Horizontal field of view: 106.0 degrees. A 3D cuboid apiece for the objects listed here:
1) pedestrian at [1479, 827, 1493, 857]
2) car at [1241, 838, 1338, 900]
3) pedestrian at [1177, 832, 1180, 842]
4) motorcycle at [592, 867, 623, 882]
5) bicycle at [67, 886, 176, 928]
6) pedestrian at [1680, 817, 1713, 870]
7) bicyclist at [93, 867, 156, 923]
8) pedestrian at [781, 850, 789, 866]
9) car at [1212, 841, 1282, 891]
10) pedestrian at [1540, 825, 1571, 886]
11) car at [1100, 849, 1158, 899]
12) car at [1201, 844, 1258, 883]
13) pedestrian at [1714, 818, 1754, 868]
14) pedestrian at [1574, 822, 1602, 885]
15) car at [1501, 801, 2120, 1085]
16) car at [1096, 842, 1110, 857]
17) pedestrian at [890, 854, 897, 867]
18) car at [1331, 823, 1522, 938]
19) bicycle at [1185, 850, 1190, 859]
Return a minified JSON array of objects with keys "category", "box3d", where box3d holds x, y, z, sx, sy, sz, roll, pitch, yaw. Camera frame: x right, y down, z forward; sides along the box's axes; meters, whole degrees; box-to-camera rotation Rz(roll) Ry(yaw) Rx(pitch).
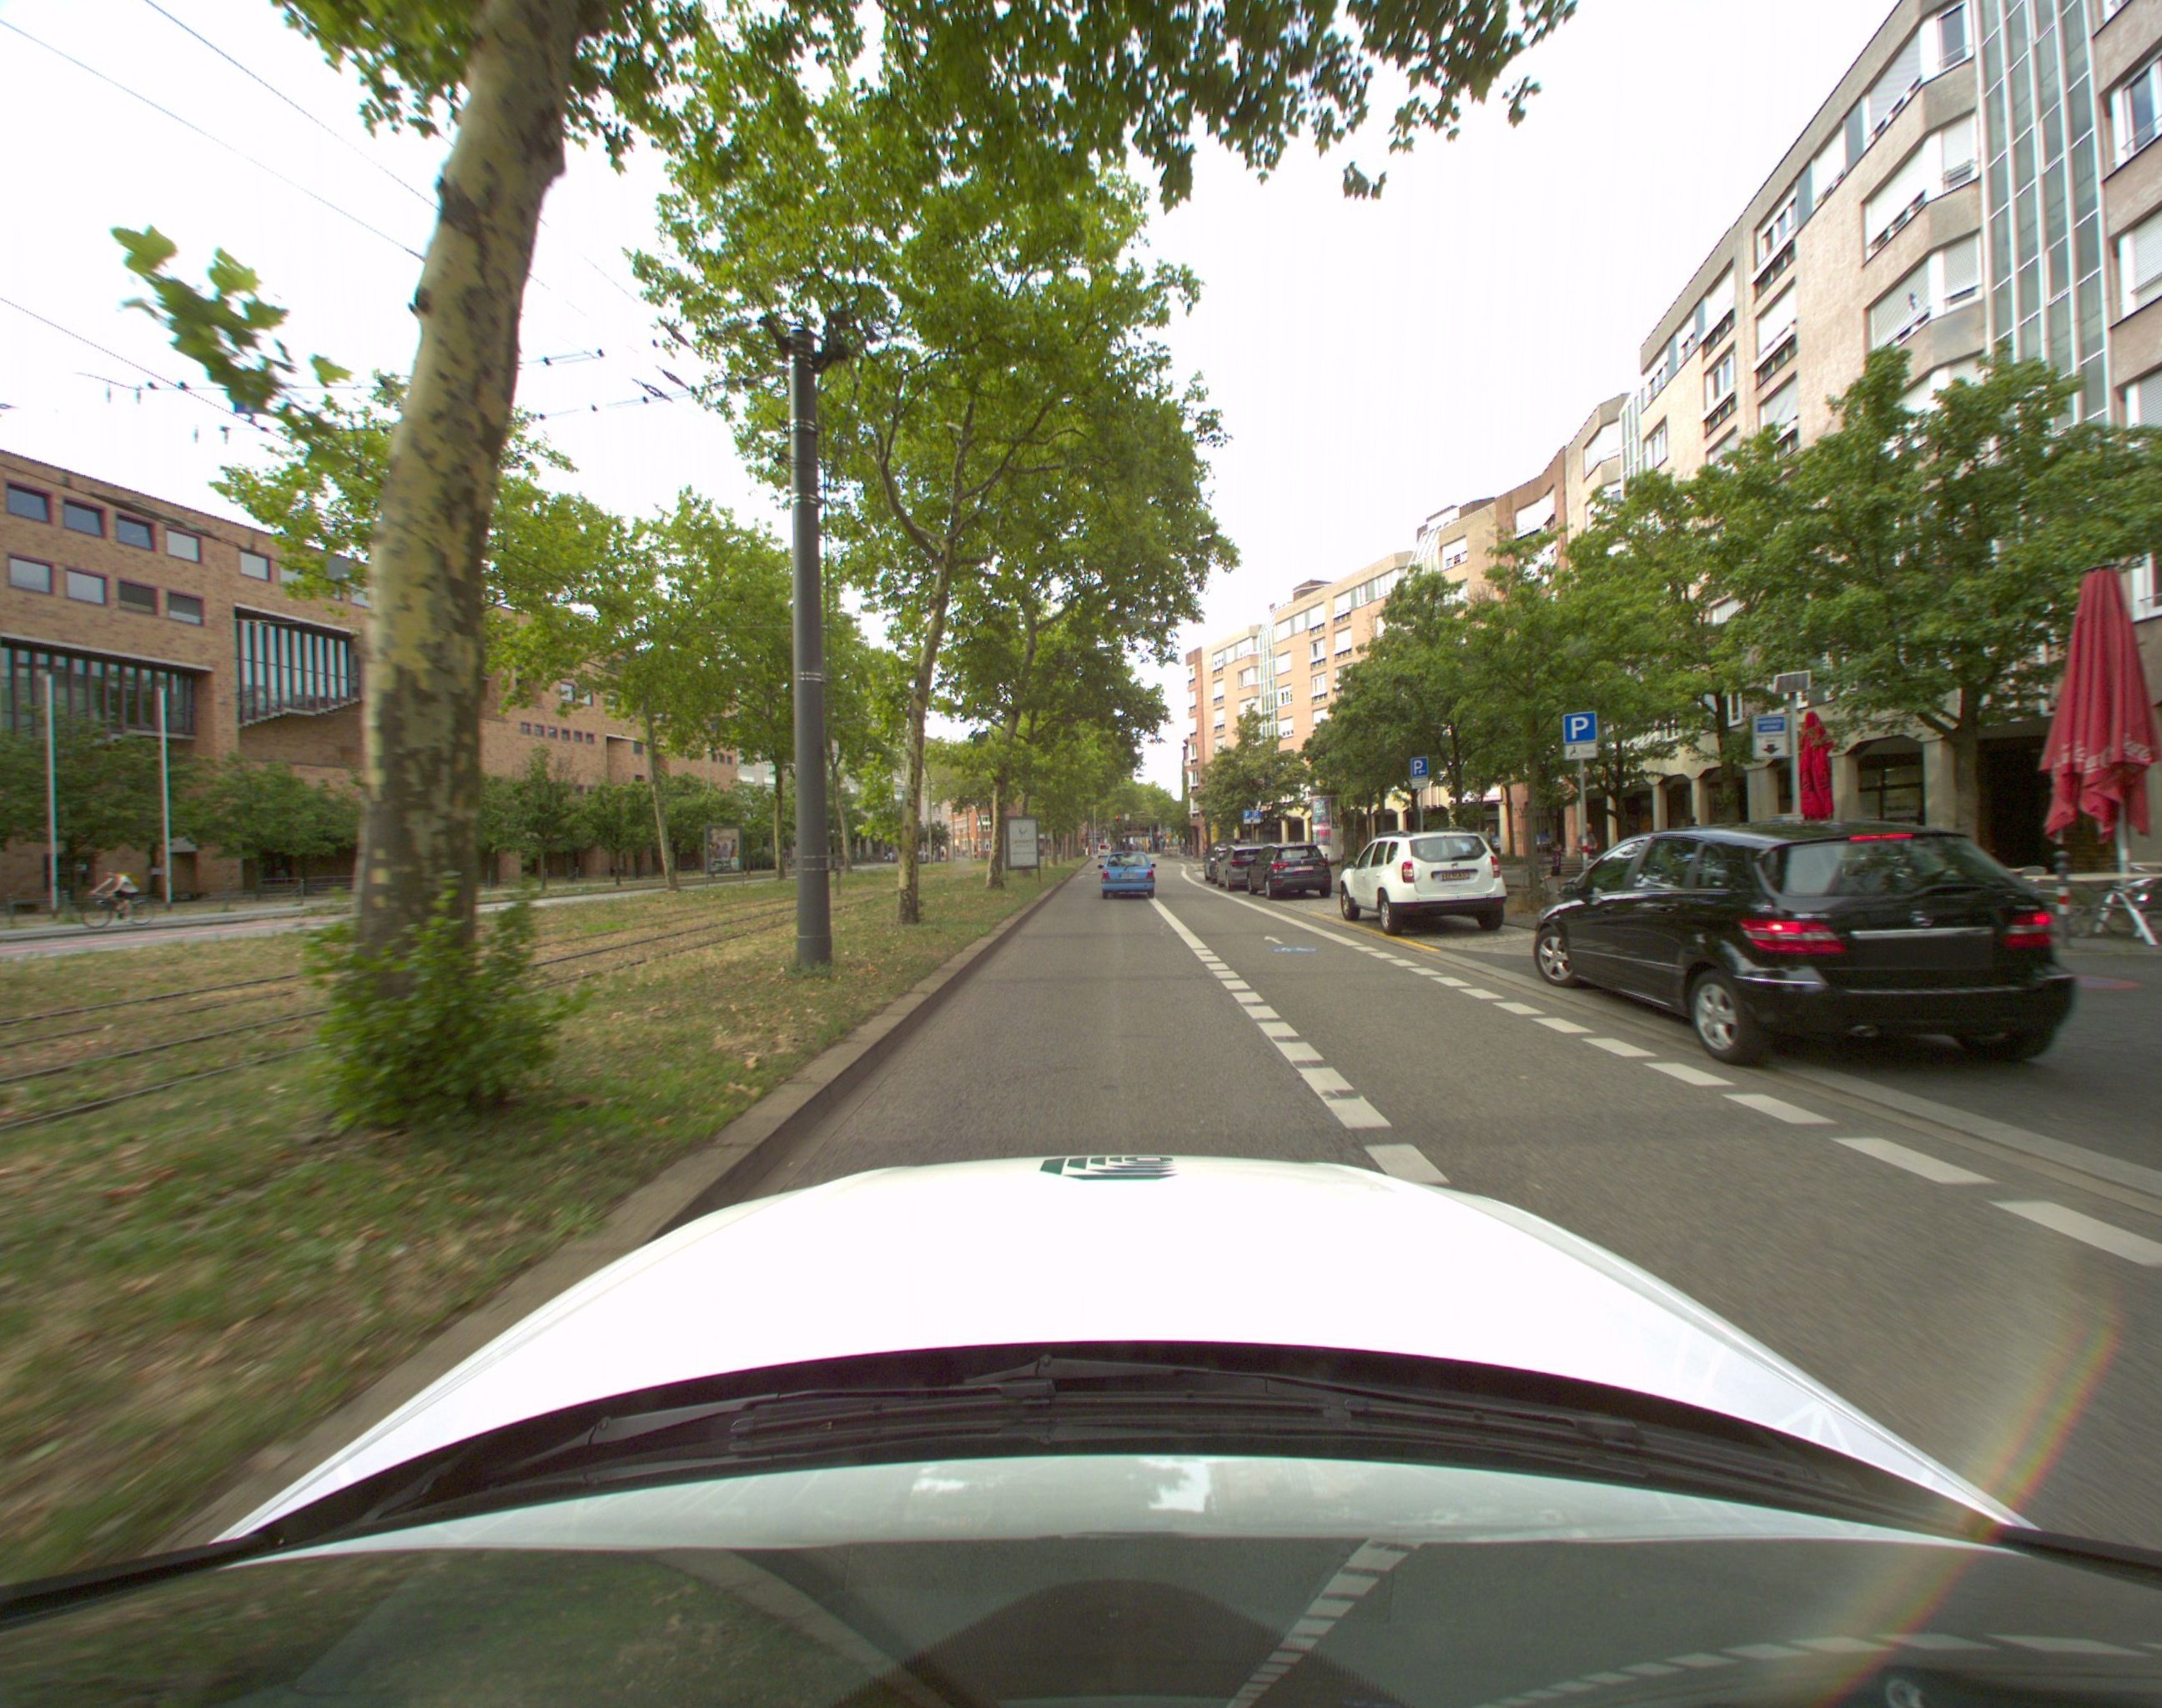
[{"category":"pedestrian","box3d":[23.377,-0.695,46.997,0.529,1.662,0.854,-1,0,14]},{"category":"car","box3d":[5.887,0.378,23.457,1.709,1.519,4.205,-3,0,1]},{"category":"pedestrian","box3d":[14.936,-2.609,124.820,0.514,1.616,0.852,-1,0,7]},{"category":"motorcycle","box3d":[-40.999,1.743,70.557,2.198,1.191,0.791,-2,0,-21]},{"category":"bicycle","box3d":[-28.881,1.565,24.562,0.665,1.084,2.096,-2,1,5]},{"category":"pedestrian","box3d":[19.805,-0.339,26.215,0.601,1.662,0.684,-1,0,11]},{"category":"bicyclist","box3d":[-28.886,1.224,24.611,0.661,1.590,0.985,-2,0,5]},{"category":"pedestrian","box3d":[-32.583,0.406,89.649,0.549,1.705,0.627,-2,0,6]},{"category":"car","box3d":[5.746,0.368,28.605,1.732,1.519,4.405,-3,1,3]},{"category":"pedestrian","box3d":[11.743,0.027,20.169,0.414,1.479,0.498,-2,0,-30]},{"category":"car","box3d":[1.474,0.565,25.456,1.634,1.386,3.845,-1,0,3]},{"category":"car","box3d":[6.076,0.345,33.806,1.808,1.442,4.672,-3,0,4]},{"category":"pedestrian","box3d":[20.872,-0.356,26.049,0.705,1.555,0.802,-2,0,15]},{"category":"pedestrian","box3d":[12.803,-0.019,20.556,0.510,1.569,0.483,-2,0,37]},{"category":"car","box3d":[5.319,0.511,6.896,1.765,1.576,4.315,-4,0,8]},{"category":"car","box3d":[3.061,-0.642,113.425,1.924,1.925,4.958,-2,1,2]},{"category":"pedestrian","box3d":[-25.233,0.917,109.762,0.549,1.705,0.886,-2,0,6]},{"category":"car","box3d":[5.838,0.379,14.349,1.852,1.653,4.169,-3,0,5]},{"category":"bicycle","box3d":[14.057,0.093,107.506,0.608,1.118,1.809,-1,0,9]}]
